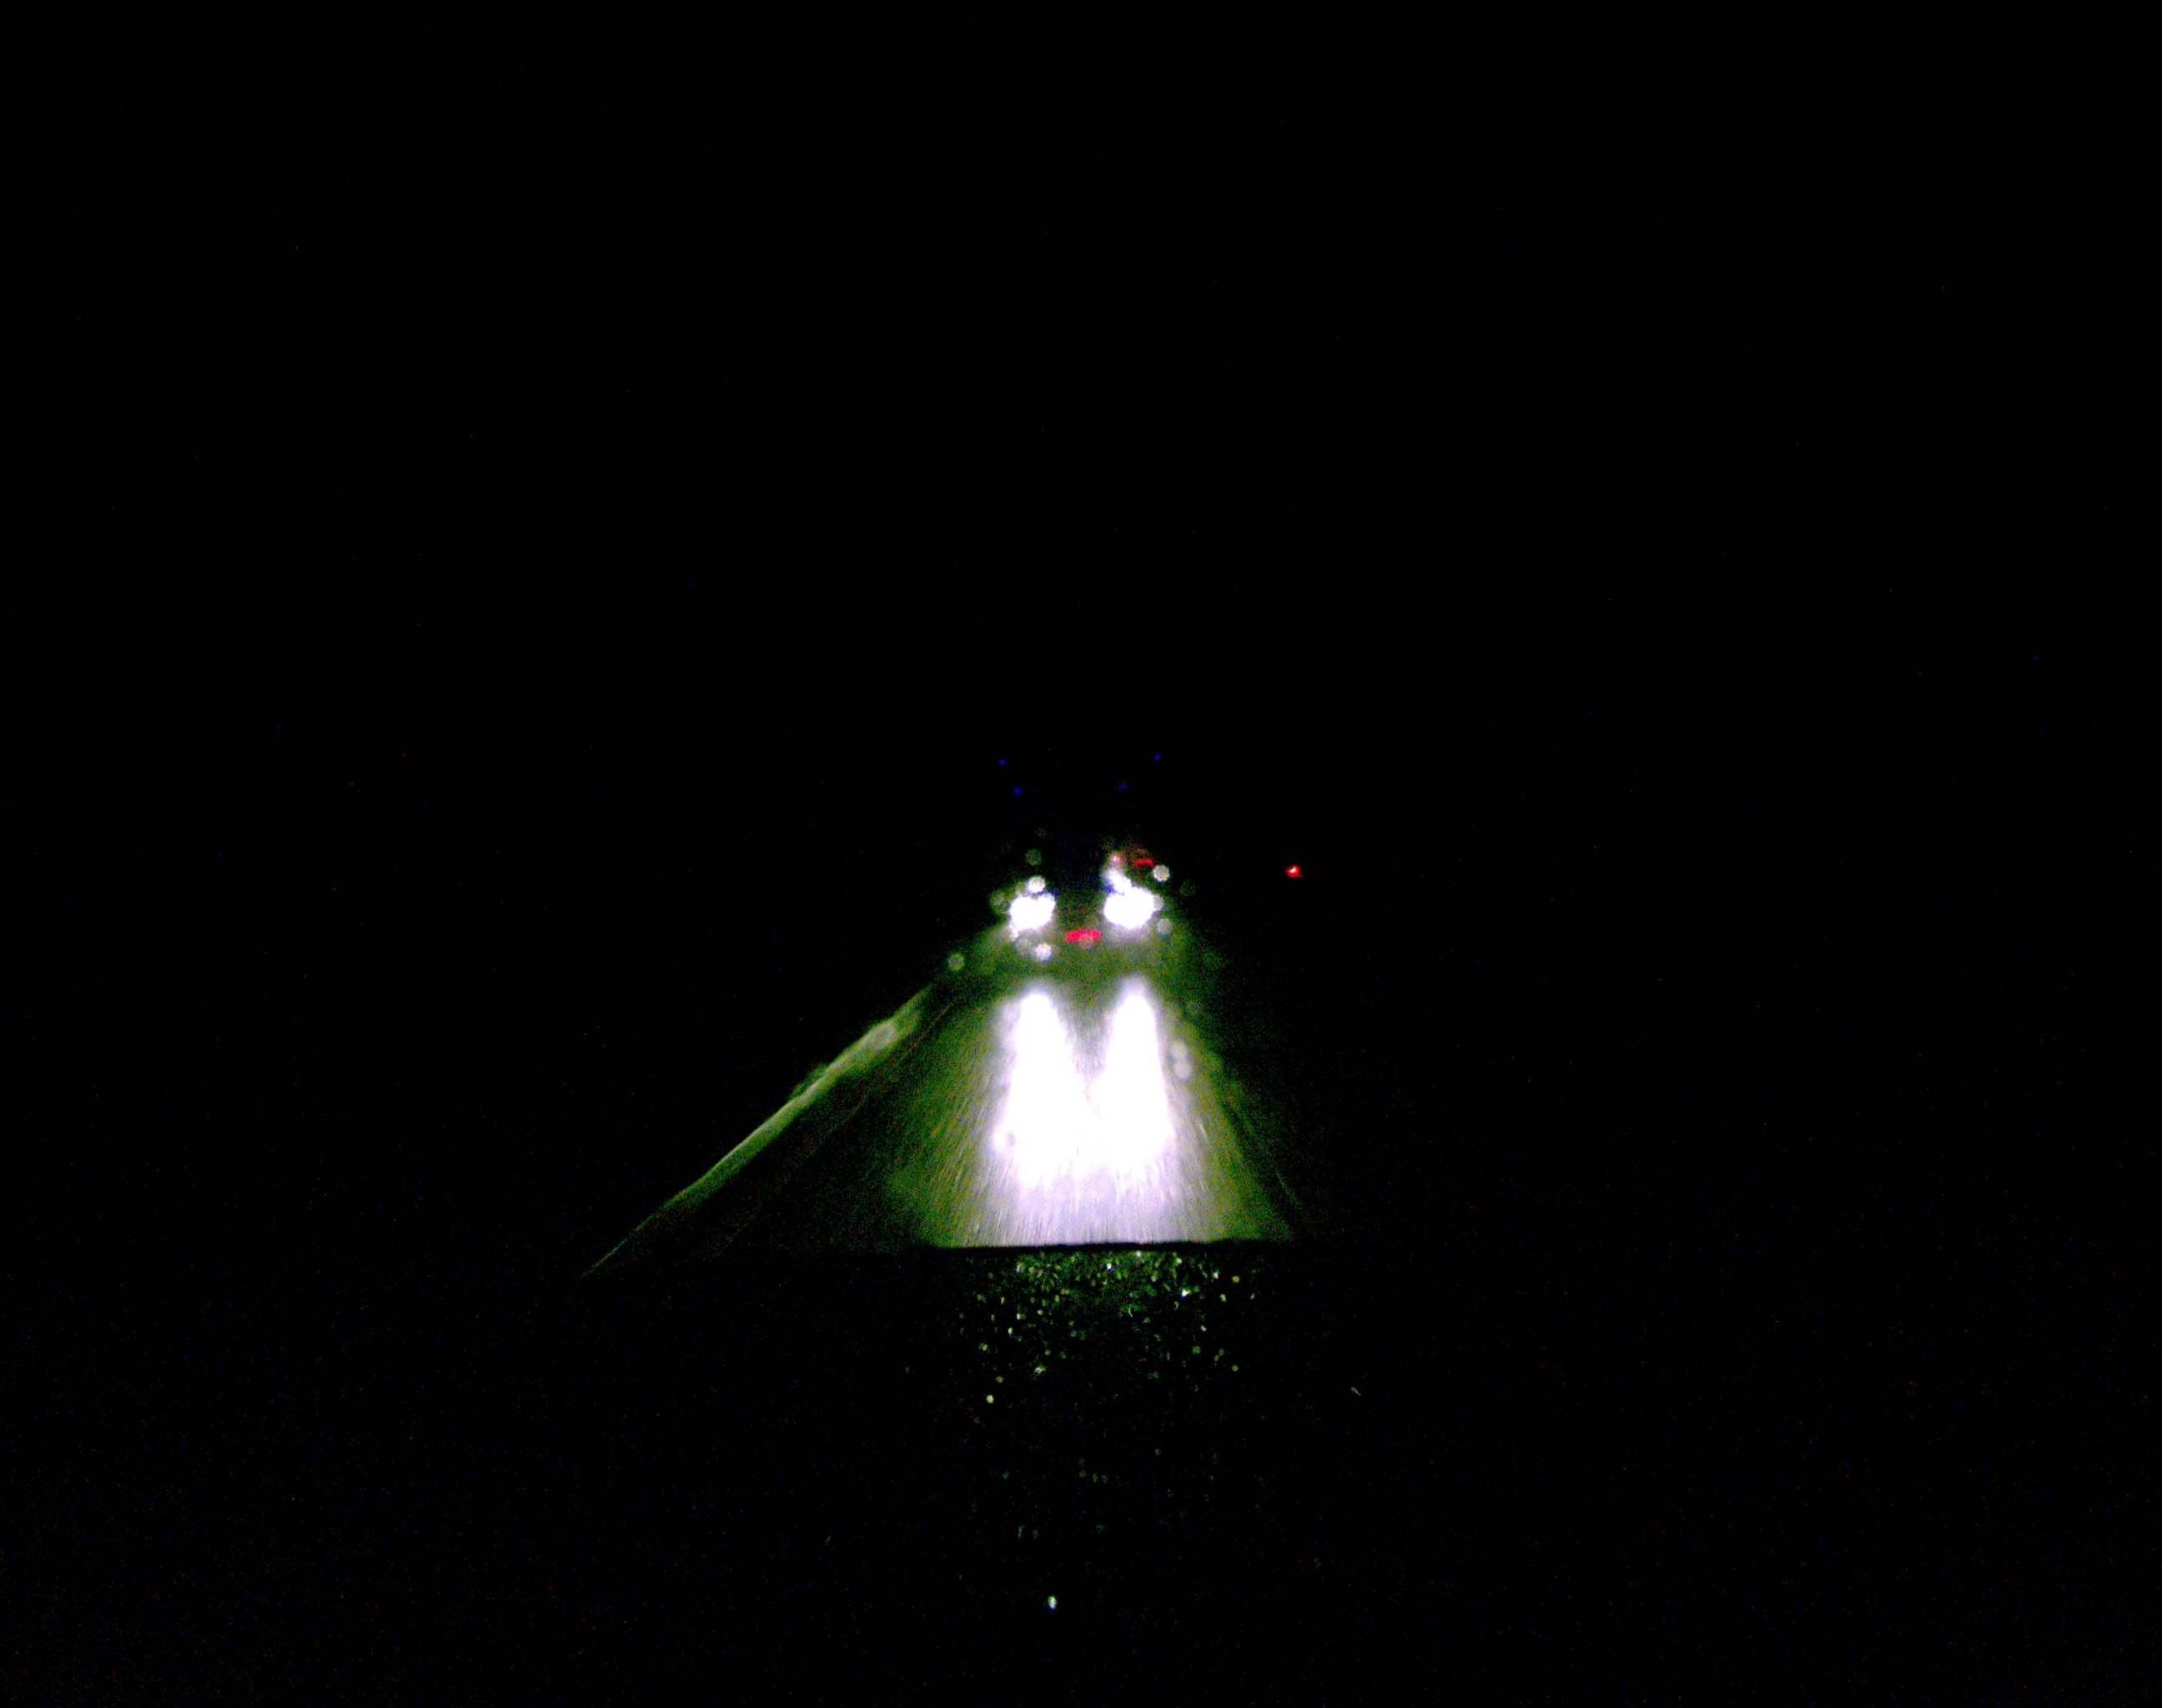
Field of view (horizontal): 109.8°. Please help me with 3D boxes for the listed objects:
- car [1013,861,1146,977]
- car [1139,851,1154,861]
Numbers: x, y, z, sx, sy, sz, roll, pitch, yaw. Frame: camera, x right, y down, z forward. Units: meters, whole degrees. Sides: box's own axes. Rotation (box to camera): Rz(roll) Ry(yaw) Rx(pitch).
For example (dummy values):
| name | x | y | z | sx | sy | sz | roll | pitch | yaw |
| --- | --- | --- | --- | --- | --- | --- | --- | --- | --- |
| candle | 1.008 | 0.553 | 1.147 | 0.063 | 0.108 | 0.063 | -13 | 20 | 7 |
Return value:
| name | x | y | z | sx | sy | sz | roll | pitch | yaw |
| --- | --- | --- | --- | --- | --- | --- | --- | --- | --- |
| car | 0.038 | 0.960 | 13.162 | 1.862 | 1.601 | 4.420 | -2 | 0 | 1 |
| car | 10.085 | 0.329 | 116.812 | 1.867 | 1.535 | 4.229 | -3 | -1 | 1 |
